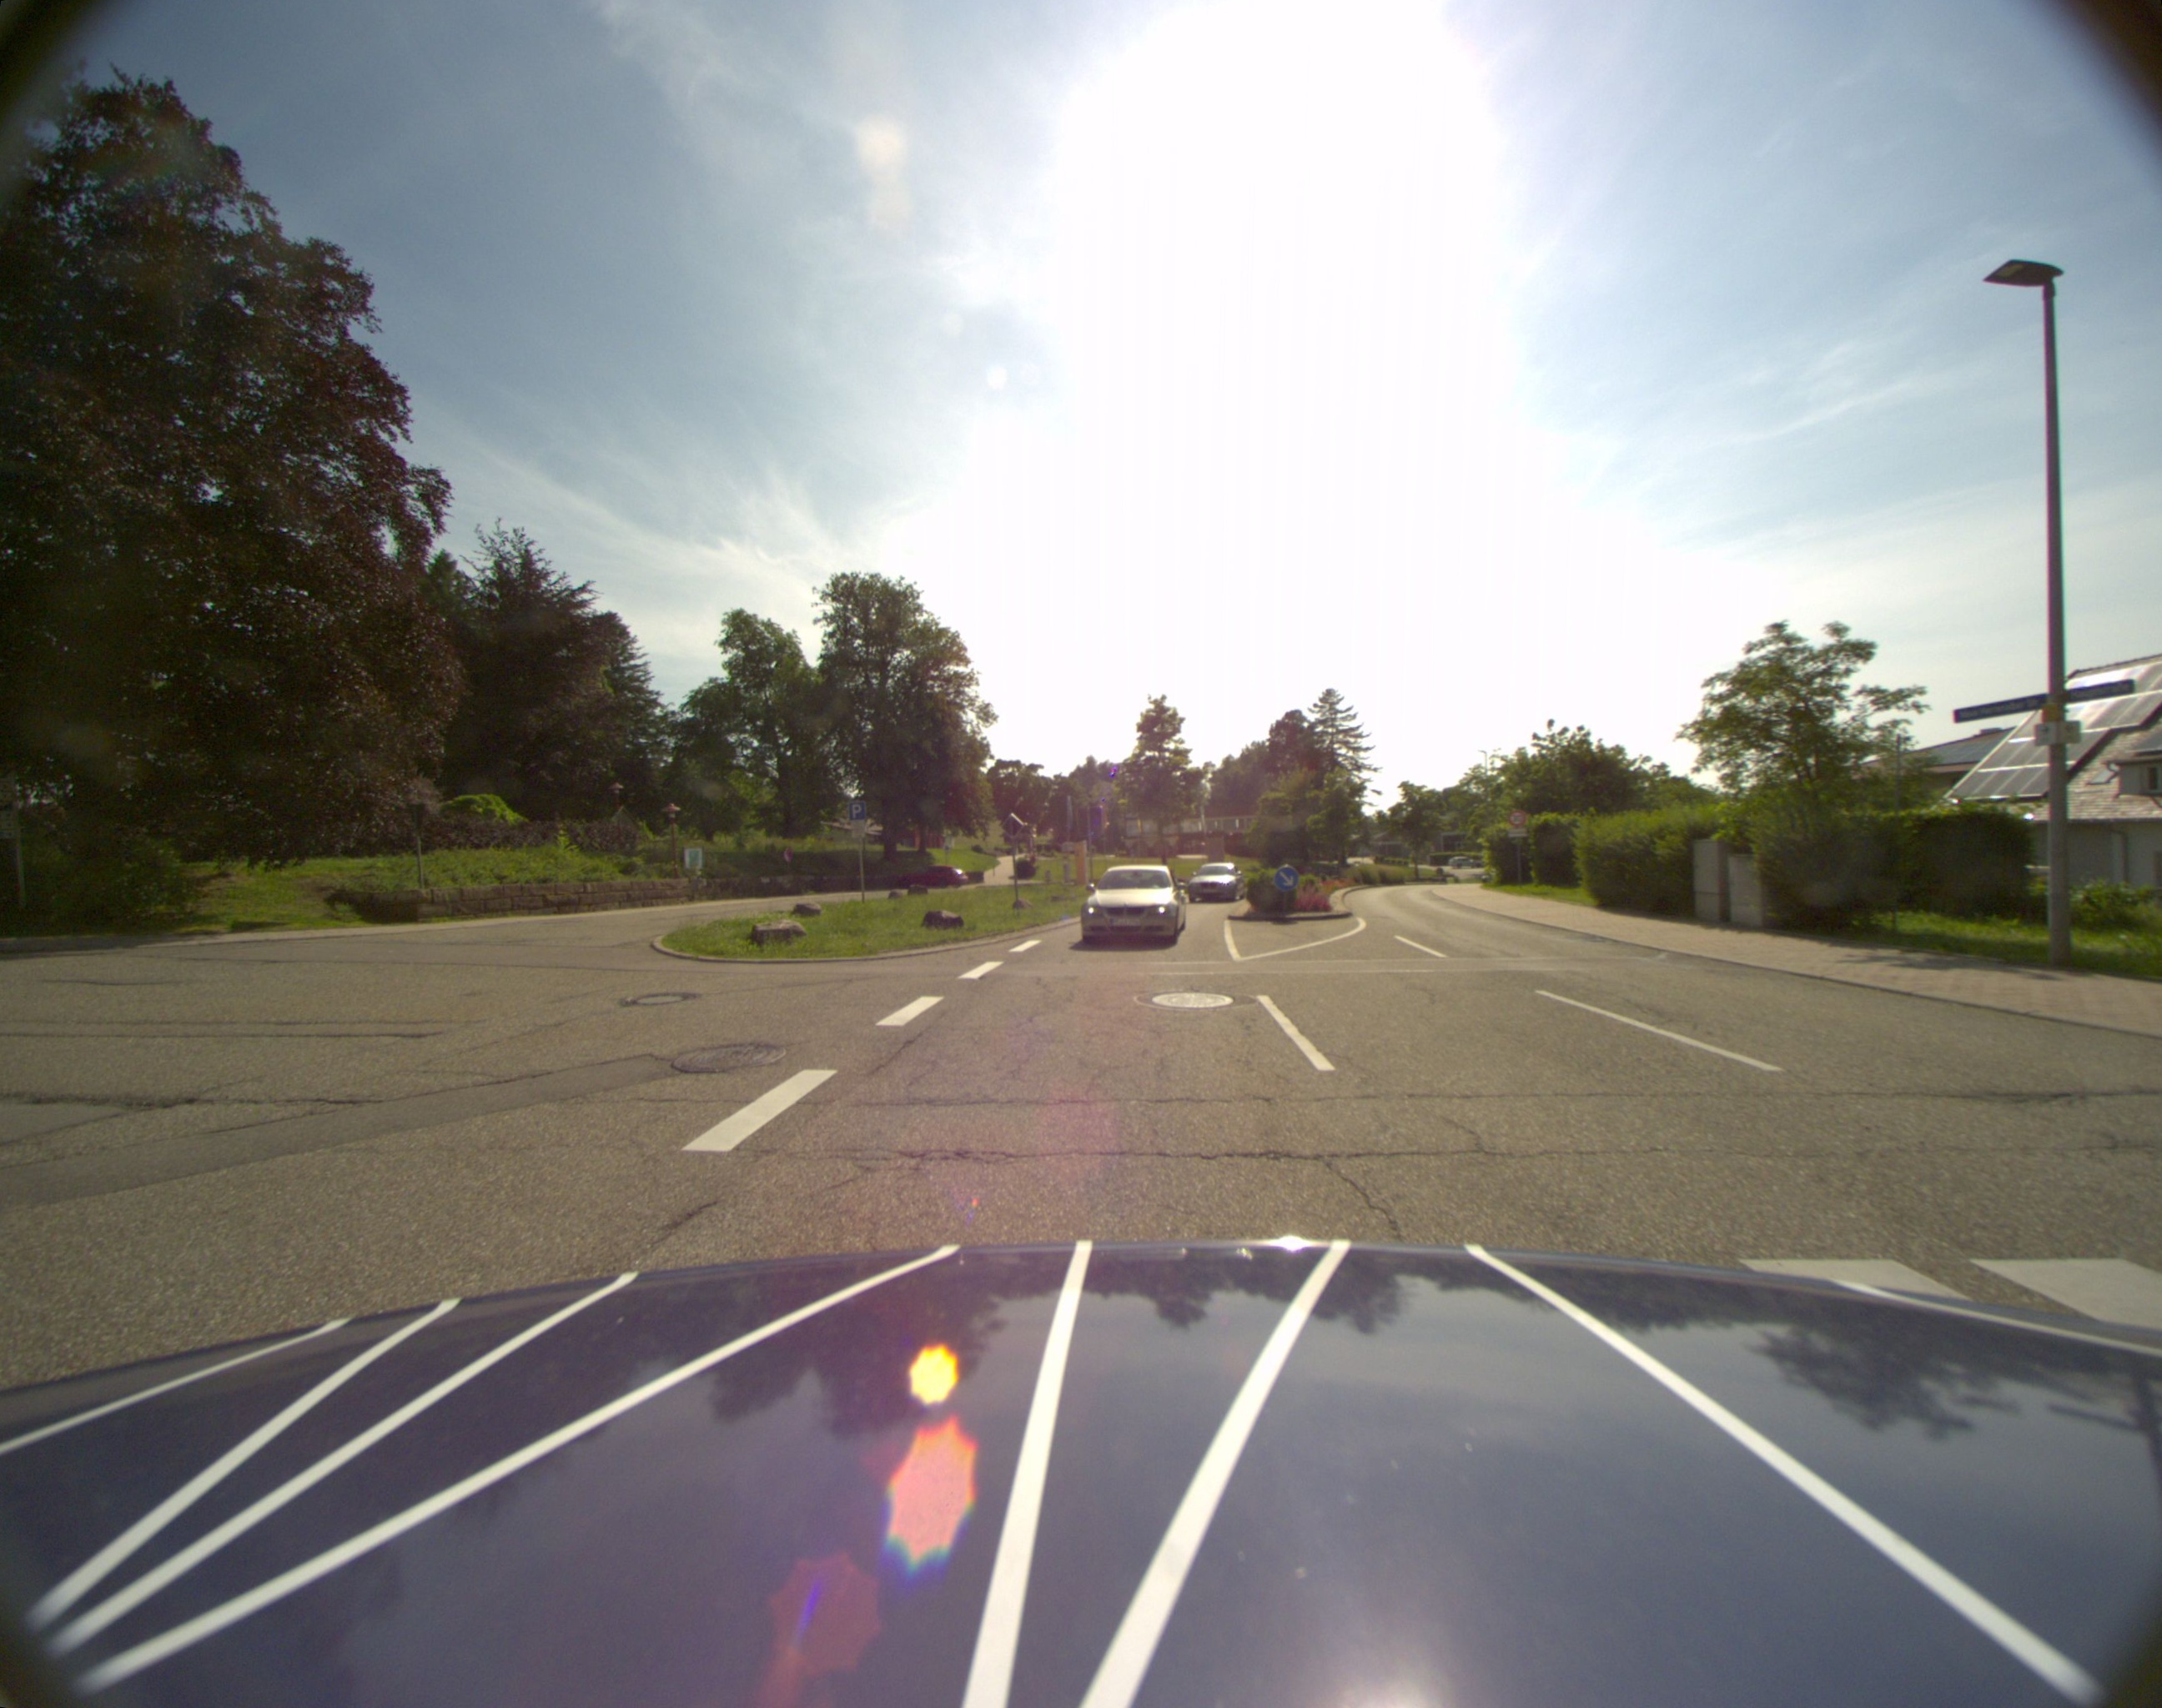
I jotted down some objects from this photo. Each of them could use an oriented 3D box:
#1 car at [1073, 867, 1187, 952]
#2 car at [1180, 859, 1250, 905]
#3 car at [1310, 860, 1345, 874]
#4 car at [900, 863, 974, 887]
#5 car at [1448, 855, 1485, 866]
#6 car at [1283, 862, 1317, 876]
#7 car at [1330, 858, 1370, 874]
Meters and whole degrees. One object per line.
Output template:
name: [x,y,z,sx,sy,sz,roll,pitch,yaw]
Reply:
car: [1.148,0.984,15.279,1.837,1.360,4.585,1,0,9]
car: [5.149,1.007,28.787,1.900,1.499,4.006,2,1,20]
car: [27.408,1.420,84.562,1.688,1.419,3.531,1,1,-25]
car: [-8.968,1.289,47.246,4.256,1.420,1.705,-1,0,22]
car: [55.262,0.918,108.878,4.364,1.506,1.794,2,1,3]
car: [24.057,1.611,83.519,1.717,1.396,3.304,-1,2,-30]
car: [30.756,1.374,86.871,2.003,1.609,3.990,1,1,-25]
